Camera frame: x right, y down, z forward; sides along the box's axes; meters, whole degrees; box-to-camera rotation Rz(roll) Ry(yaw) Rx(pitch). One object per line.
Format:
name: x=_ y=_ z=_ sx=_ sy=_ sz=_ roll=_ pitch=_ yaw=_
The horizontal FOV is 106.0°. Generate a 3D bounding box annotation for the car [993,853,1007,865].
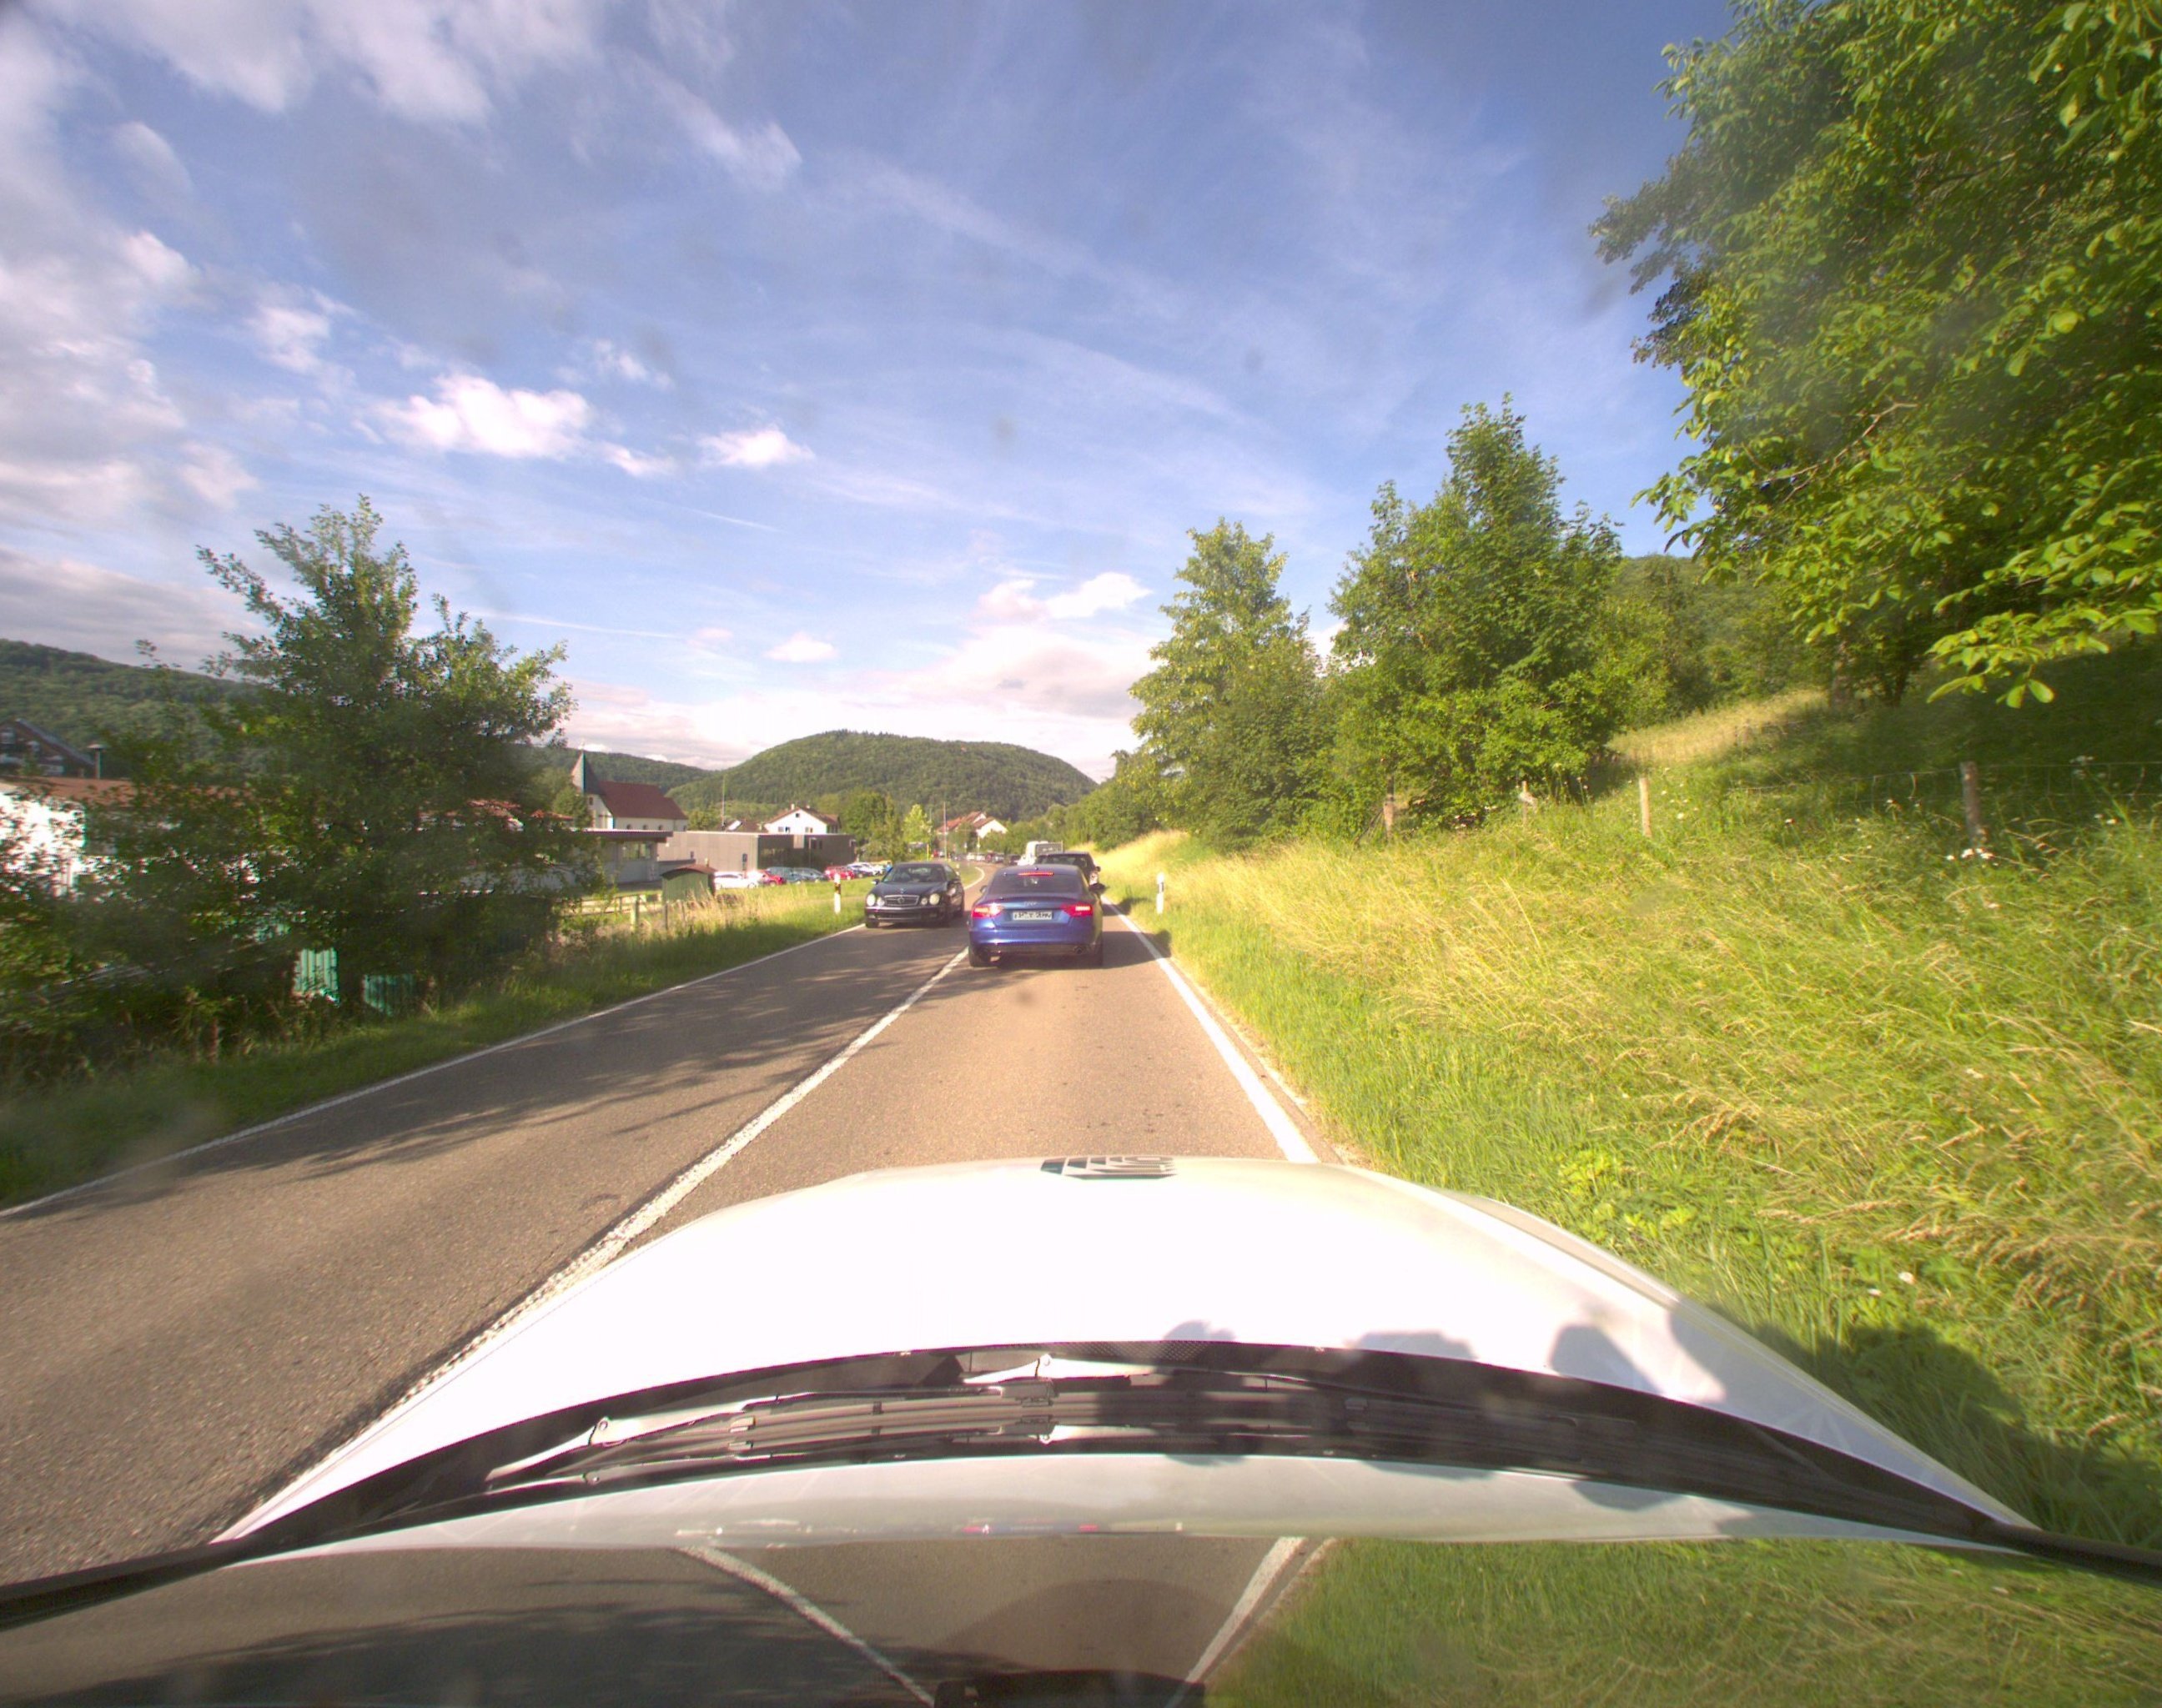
car: x=-11.774 y=0.718 z=118.346 sx=1.845 sy=1.712 sz=3.987 roll=0 pitch=-1 yaw=-9

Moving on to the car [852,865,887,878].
car: x=-26.953 y=2.229 z=104.105 sx=3.978 sy=1.711 sz=1.998 roll=-1 pitch=-1 yaw=-3

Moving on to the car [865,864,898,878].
car: x=-26.957 y=2.276 z=109.890 sx=3.978 sy=1.711 sz=1.998 roll=-1 pitch=-1 yaw=-3

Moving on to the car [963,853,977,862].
car: x=-20.324 y=0.617 z=149.265 sx=1.851 sy=1.712 sz=3.975 roll=0 pitch=-1 yaw=-19

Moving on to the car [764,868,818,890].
car: x=-27.649 y=2.332 z=77.810 sx=4.396 sy=2.008 sz=1.998 roll=-1 pitch=-1 yaw=-3

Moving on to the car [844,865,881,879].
car: x=-27.018 y=2.203 z=100.820 sx=3.978 sy=1.711 sz=1.998 roll=-1 pitch=-1 yaw=-3

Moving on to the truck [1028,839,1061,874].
truck: x=-2.932 y=0.229 z=64.011 sx=2.227 sy=2.570 sz=6.694 roll=-1 pitch=-1 yaw=-6

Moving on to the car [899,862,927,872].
car: x=-26.147 y=2.001 z=126.925 sx=3.978 sy=1.579 sz=1.750 roll=-1 pitch=-1 yaw=-3

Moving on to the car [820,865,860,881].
car: x=-27.351 y=2.140 z=92.583 sx=3.978 sy=1.711 sz=1.998 roll=-1 pitch=-1 yaw=-3

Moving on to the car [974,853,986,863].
car: x=-16.865 y=0.675 z=136.112 sx=1.845 sy=1.712 sz=3.987 roll=0 pitch=-1 yaw=-10

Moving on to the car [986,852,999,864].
car: x=-13.710 y=0.611 z=125.868 sx=1.845 sy=1.712 sz=3.987 roll=0 pitch=-1 yaw=-10

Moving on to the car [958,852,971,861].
car: x=-22.723 y=0.488 z=158.851 sx=1.851 sy=1.712 sz=3.975 roll=0 pitch=-1 yaw=-19

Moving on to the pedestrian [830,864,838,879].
pedestrian: x=-32.799 y=2.337 z=108.247 sx=0.823 sy=2.014 sz=0.973 roll=-1 pitch=-1 yaw=-1

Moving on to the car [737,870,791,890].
car: x=-27.972 y=2.288 z=71.991 sx=3.978 sy=1.711 sz=1.998 roll=-1 pitch=-1 yaw=-3

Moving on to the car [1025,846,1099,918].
car: x=-0.434 y=0.672 z=21.197 sx=1.748 sy=1.681 sz=3.846 roll=-1 pitch=-1 yaw=0

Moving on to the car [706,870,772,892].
car: x=-29.018 y=2.276 z=69.205 sx=4.720 sy=1.711 sz=1.998 roll=-1 pitch=-1 yaw=-3

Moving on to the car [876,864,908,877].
car: x=-26.127 y=2.289 z=112.535 sx=3.978 sy=1.711 sz=1.998 roll=-1 pitch=-1 yaw=-3

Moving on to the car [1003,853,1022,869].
car: x=-7.538 y=0.804 z=89.723 sx=1.844 sy=1.712 sz=3.989 roll=0 pitch=-1 yaw=-8

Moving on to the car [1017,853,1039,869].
car: x=-5.113 y=0.690 z=78.733 sx=1.844 sy=1.482 sz=3.989 roll=0 pitch=-1 yaw=-8

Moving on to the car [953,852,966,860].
car: x=-21.578 y=0.306 z=144.819 sx=1.708 sy=1.430 sz=4.027 roll=0 pitch=-1 yaw=-17

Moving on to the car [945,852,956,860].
car: x=-28.236 y=0.375 z=176.085 sx=1.851 sy=1.712 sz=3.975 roll=0 pitch=-1 yaw=-19

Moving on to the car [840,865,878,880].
car: x=-26.501 y=2.168 z=97.174 sx=3.978 sy=1.711 sz=1.998 roll=-1 pitch=-1 yaw=-3

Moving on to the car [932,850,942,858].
car: x=-34.610 y=-0.016 z=195.306 sx=1.851 sy=1.712 sz=3.975 roll=0 pitch=-1 yaw=-19

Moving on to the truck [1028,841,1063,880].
truck: x=-2.404 y=0.446 z=56.265 sx=2.224 sy=2.570 sz=6.099 roll=-1 pitch=-1 yaw=-2

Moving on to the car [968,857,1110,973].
car: x=-0.512 y=0.774 z=12.082 sx=1.748 sy=1.430 sz=3.846 roll=-1 pitch=-1 yaw=0

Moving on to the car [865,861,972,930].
car: x=-3.541 y=0.844 z=18.424 sx=1.589 sy=1.354 sz=4.202 roll=-1 pitch=0 yaw=0

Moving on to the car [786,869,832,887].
car: x=-27.281 y=2.360 z=81.850 sx=3.978 sy=1.711 sz=1.998 roll=-1 pitch=-1 yaw=-3

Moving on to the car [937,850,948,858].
car: x=-31.632 y=0.017 z=186.321 sx=1.851 sy=1.712 sz=3.975 roll=0 pitch=-1 yaw=-19
